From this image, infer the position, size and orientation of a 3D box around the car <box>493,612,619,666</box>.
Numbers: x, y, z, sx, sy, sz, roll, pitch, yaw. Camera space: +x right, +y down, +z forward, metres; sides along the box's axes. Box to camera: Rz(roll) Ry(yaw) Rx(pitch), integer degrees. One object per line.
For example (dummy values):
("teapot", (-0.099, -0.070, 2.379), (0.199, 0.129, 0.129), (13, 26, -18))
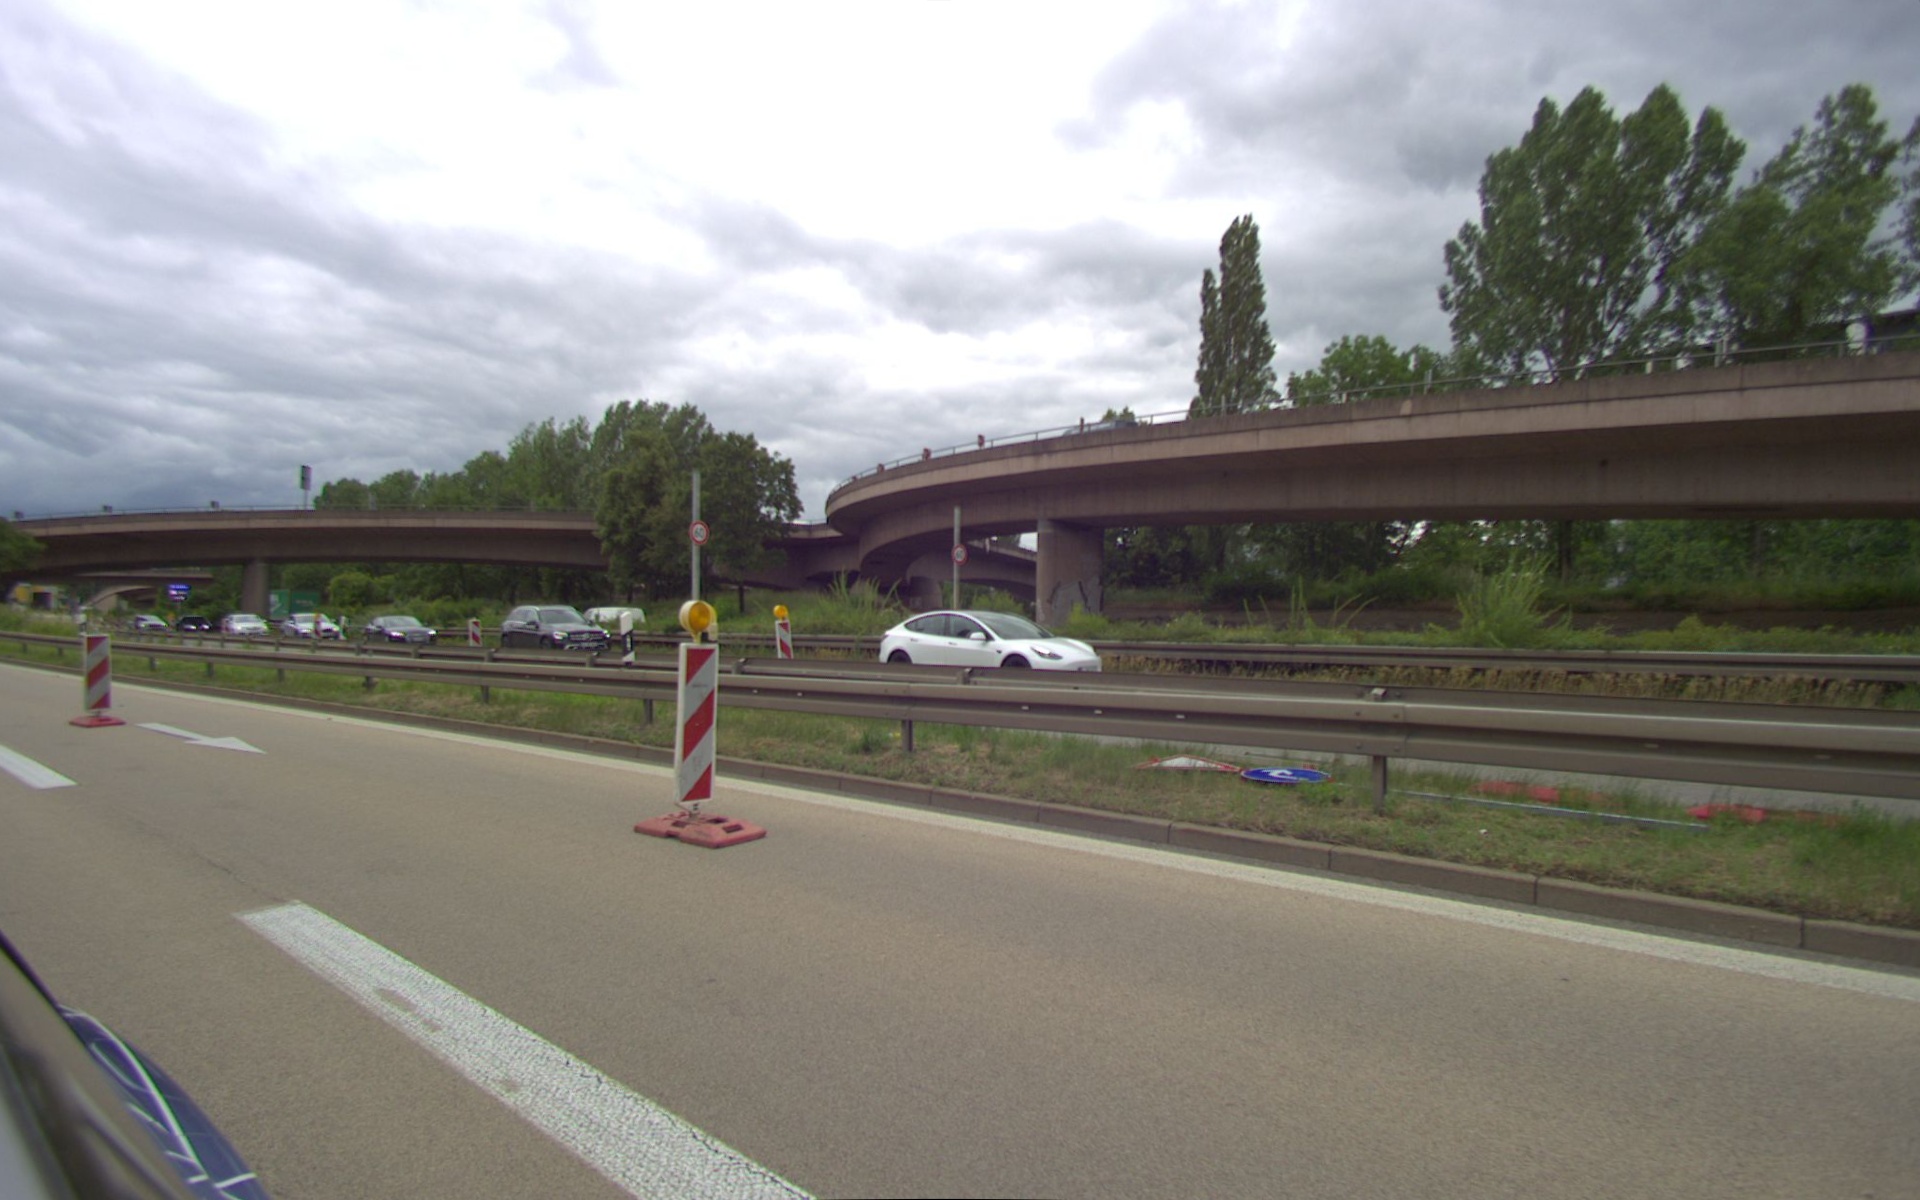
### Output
("car", (-12.337, 1.134, 30.786), (4.293, 1.522, 1.953), (-1, -1, 44))

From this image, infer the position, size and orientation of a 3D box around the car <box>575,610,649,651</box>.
("car", (-17.825, 1.556, 51.766), (1.971, 2.018, 4.002), (2, -2, -45))

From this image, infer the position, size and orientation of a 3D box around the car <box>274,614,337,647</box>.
("car", (-32.586, 1.477, 50.363), (4.001, 1.523, 1.777), (0, -1, 44))

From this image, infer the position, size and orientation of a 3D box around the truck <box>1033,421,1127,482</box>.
("truck", (5.244, -6.489, 44.738), (1.967, 2.029, 4.011), (-1, 0, -34))

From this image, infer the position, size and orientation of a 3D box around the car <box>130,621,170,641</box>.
("car", (-65.579, 2.505, 81.925), (4.294, 1.606, 1.971), (-1, -2, 45))

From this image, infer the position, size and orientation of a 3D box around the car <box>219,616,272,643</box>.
("car", (-44.131, 1.785, 62.502), (4.002, 1.606, 1.971), (-1, -2, 45))

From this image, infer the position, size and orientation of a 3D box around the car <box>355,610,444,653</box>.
("car", (-23.281, 1.283, 41.997), (3.997, 1.716, 1.911), (-1, -2, 40))

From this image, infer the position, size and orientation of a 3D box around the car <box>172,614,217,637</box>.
("car", (-54.595, 1.825, 72.166), (4.294, 1.606, 1.971), (-1, -2, 45))

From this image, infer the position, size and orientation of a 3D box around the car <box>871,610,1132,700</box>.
("car", (0.645, 0.919, 18.329), (4.601, 1.424, 1.951), (-1, -2, 44))
